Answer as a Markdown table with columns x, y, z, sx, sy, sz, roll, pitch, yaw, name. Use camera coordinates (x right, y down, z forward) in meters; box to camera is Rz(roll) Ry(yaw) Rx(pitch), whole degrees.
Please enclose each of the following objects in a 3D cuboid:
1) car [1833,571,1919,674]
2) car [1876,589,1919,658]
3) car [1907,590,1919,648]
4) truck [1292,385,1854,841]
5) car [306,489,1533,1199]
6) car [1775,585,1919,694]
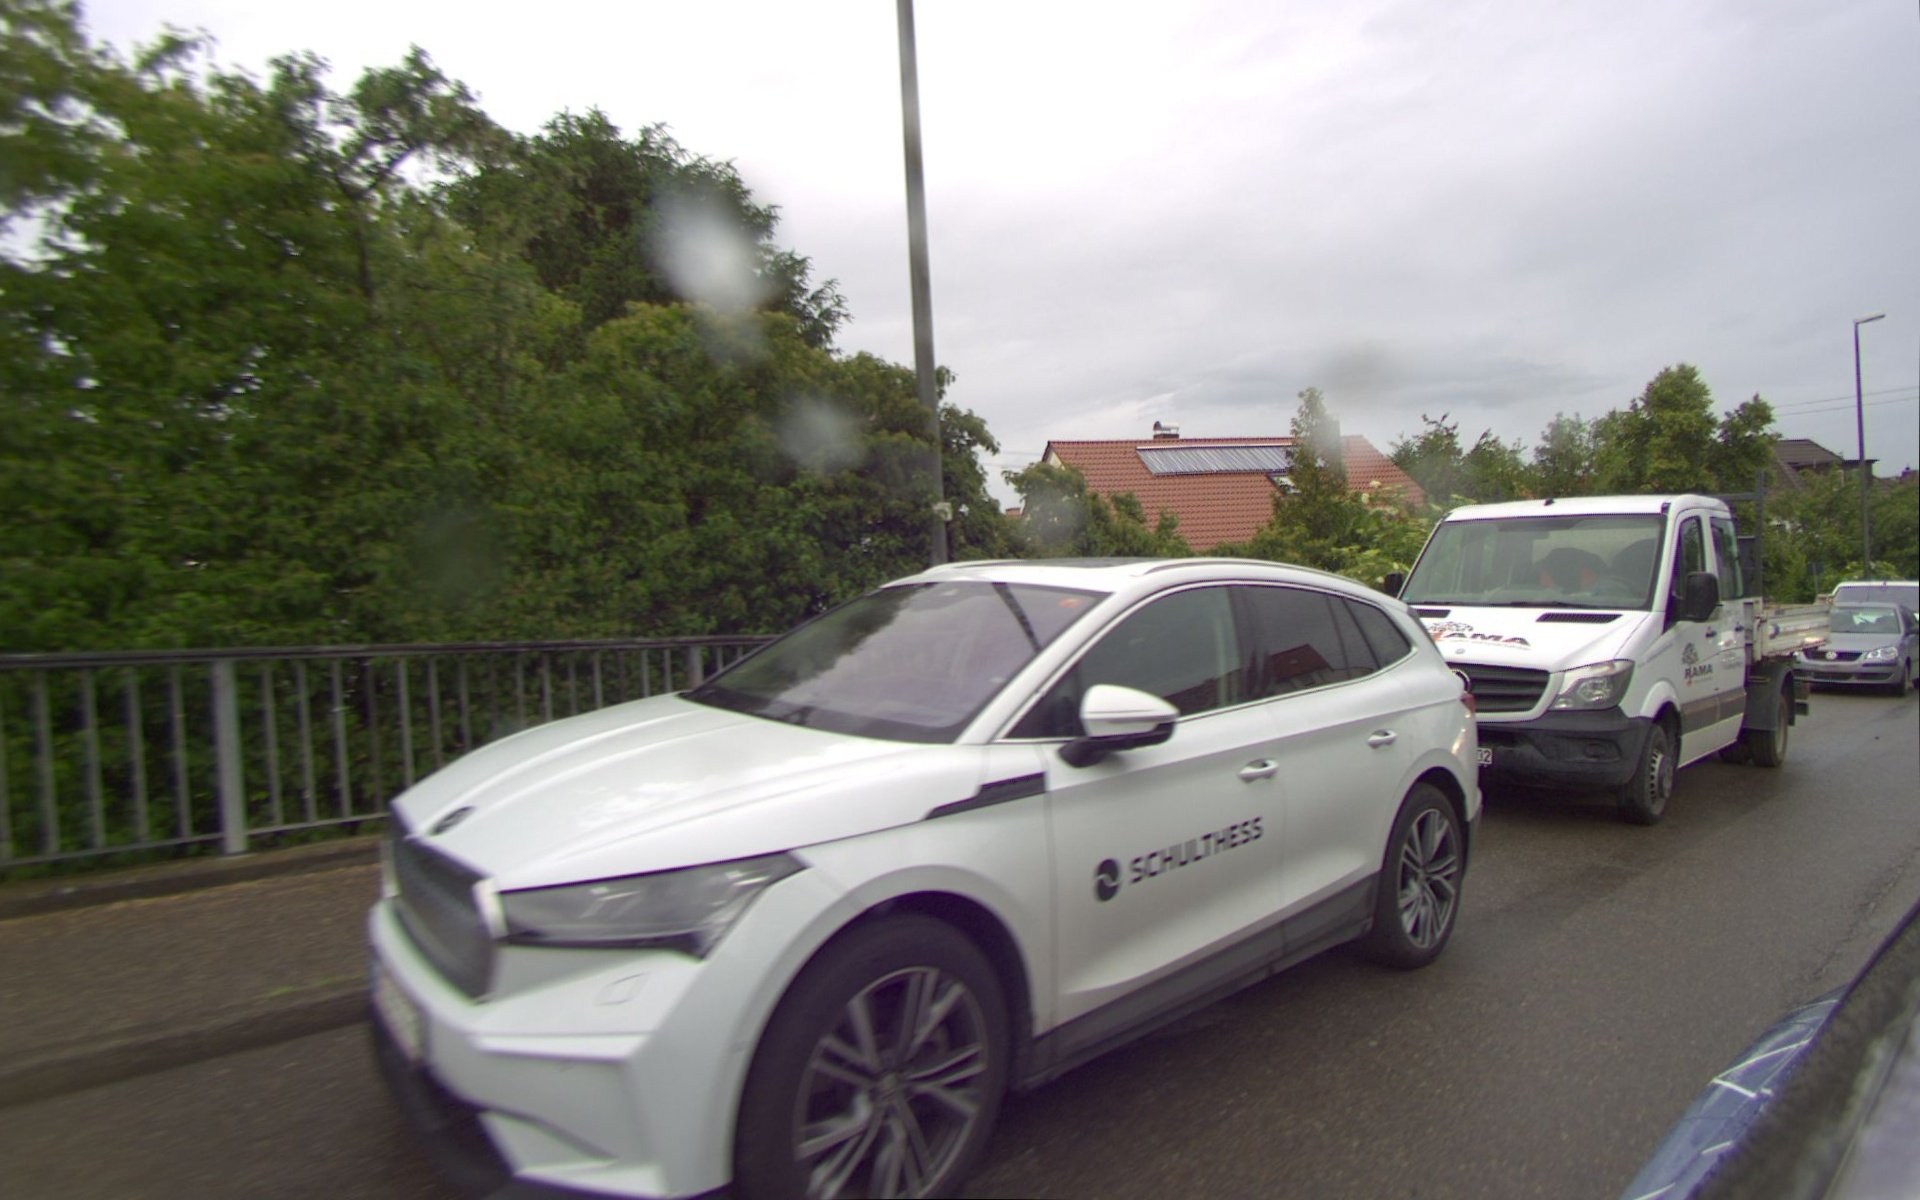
| x | y | z | sx | sy | sz | roll | pitch | yaw | name |
| --- | --- | --- | --- | --- | --- | --- | --- | --- | --- |
| 19.314 | 0.375 | 20.601 | 4.828 | 1.905 | 1.851 | -1 | 1 | -43 | car |
| 23.818 | 0.532 | 24.649 | 4.276 | 1.560 | 1.648 | -1 | 1 | -40 | car |
| 27.829 | 0.496 | 28.011 | 4.640 | 1.525 | 1.820 | -1 | 1 | -40 | car |
| 5.688 | 0.021 | 8.852 | 6.422 | 2.664 | 2.244 | -1 | 1 | -40 | truck |
| 0.363 | 0.589 | 3.839 | 4.586 | 1.624 | 1.762 | -1 | 1 | -41 | car |
| 15.081 | 0.557 | 16.810 | 3.892 | 1.583 | 1.651 | -1 | 1 | -39 | car |
